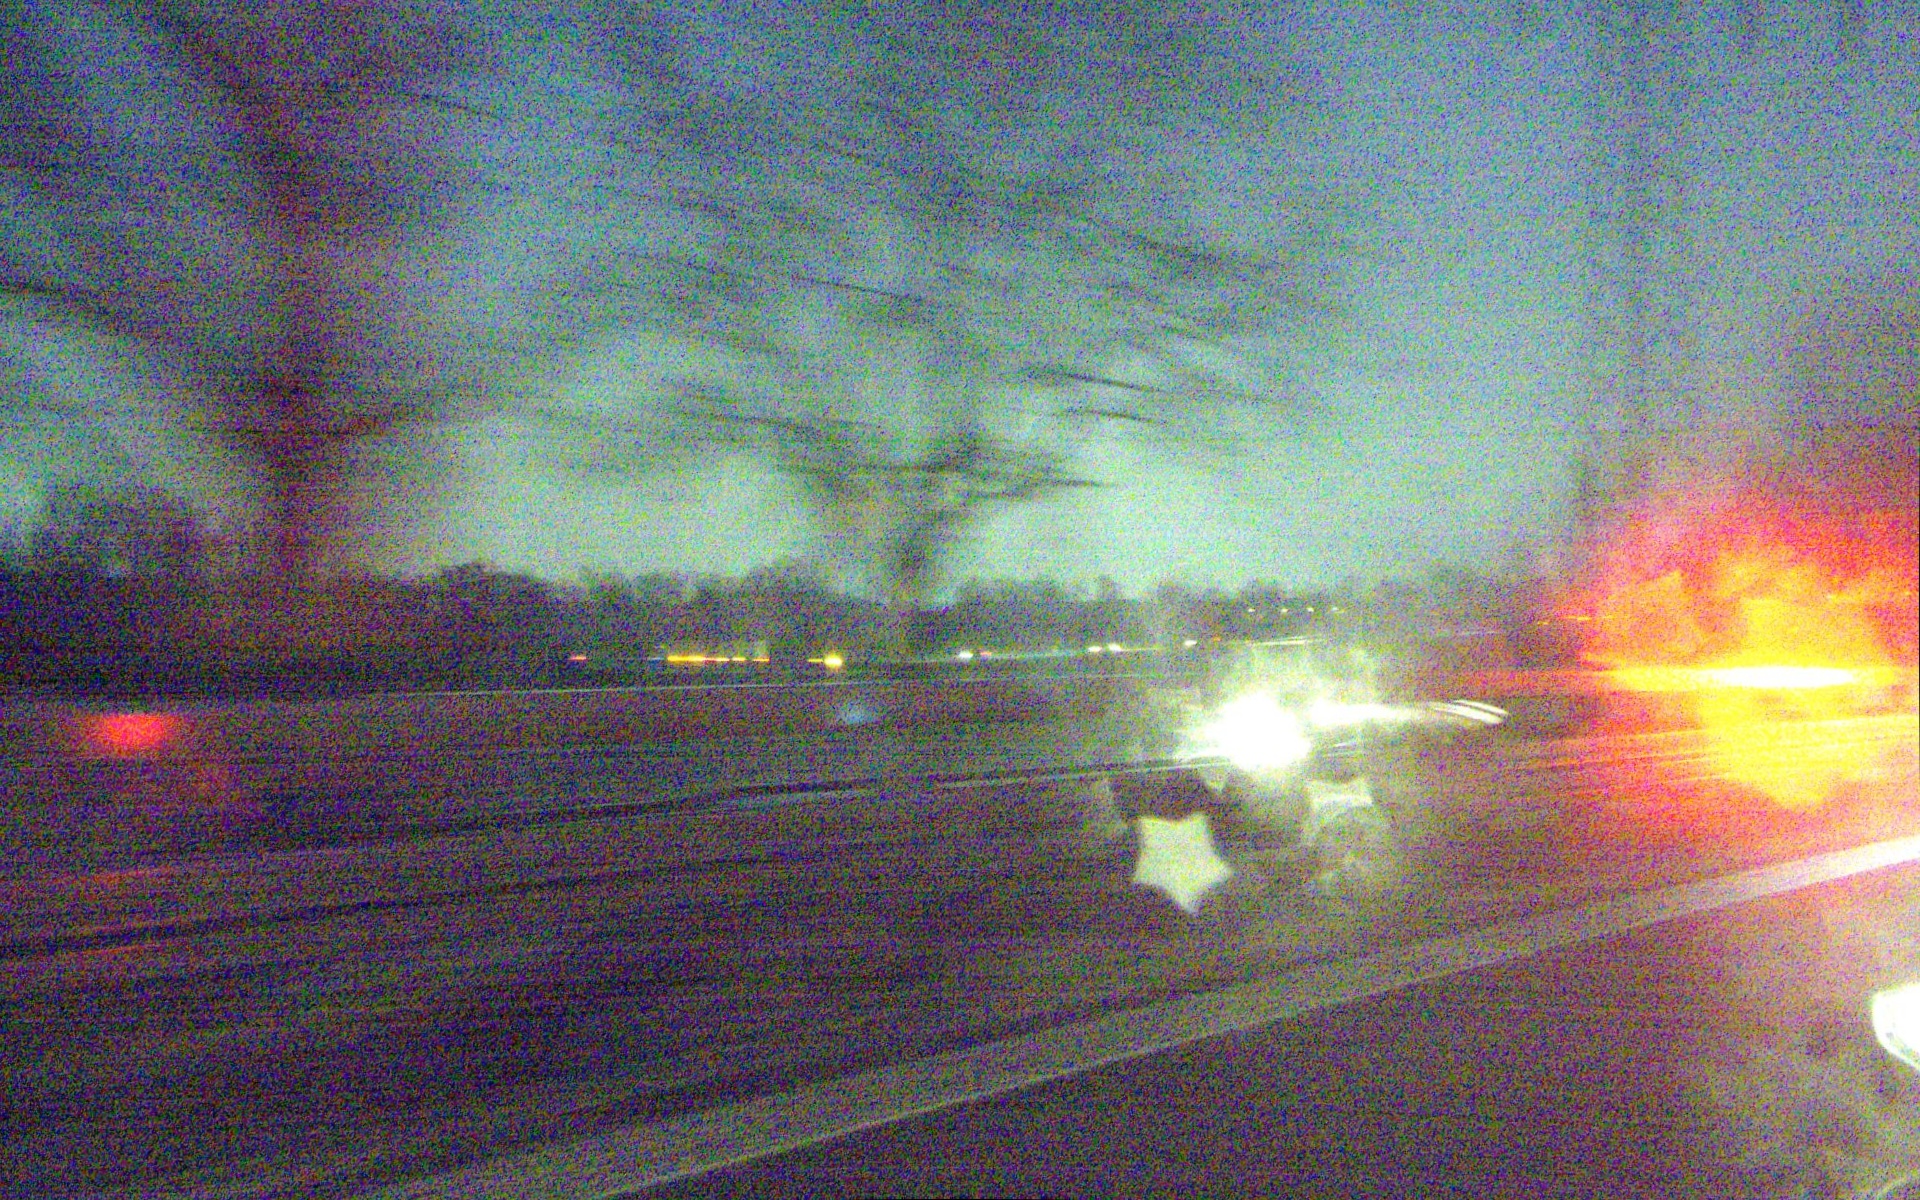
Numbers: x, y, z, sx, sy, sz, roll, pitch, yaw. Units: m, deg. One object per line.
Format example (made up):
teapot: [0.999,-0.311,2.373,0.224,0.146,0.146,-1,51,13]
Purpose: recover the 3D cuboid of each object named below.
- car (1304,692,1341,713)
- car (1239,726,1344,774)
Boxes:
car: [28.537,8.089,79.237,1.710,1.444,4.103,1,-3,5]
car: [12.041,5.404,36.438,4.011,1.509,1.745,5,-5,-39]
